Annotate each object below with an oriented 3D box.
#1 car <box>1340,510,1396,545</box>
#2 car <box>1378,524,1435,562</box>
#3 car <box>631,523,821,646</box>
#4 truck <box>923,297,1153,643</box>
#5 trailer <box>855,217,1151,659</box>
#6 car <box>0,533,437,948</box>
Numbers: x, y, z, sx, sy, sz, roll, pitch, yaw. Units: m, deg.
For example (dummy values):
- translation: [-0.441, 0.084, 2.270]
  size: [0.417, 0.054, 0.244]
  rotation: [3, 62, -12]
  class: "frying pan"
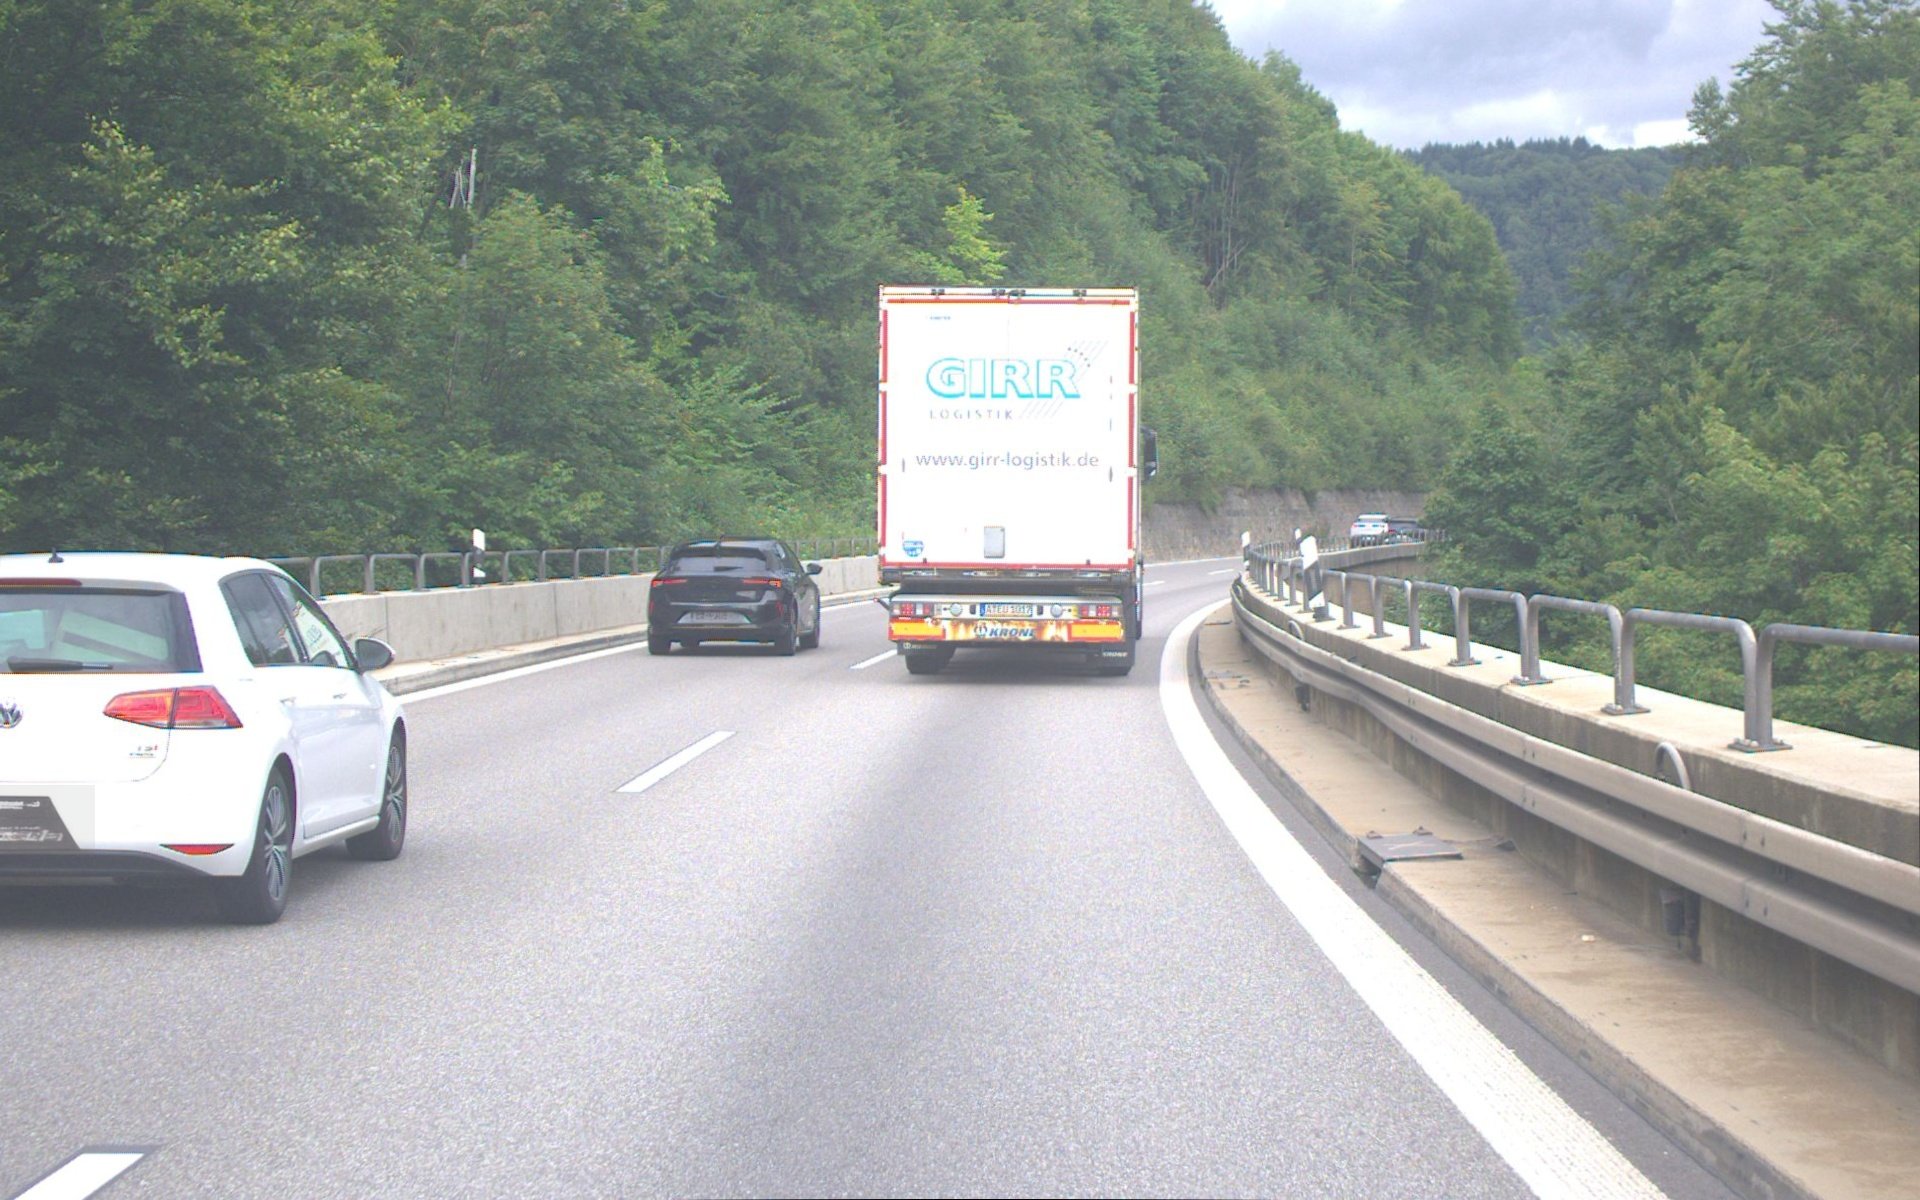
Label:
- translation: [19.002, -3.360, 160.010]
  size: [1.995, 1.560, 3.997]
  rotation: [0, 0, 15]
  class: "car"
- translation: [19.220, -2.442, 147.923]
  size: [1.995, 1.560, 3.997]
  rotation: [0, 0, 13]
  class: "car"
- translation: [-2.878, -0.205, 43.159]
  size: [1.773, 1.456, 4.581]
  rotation: [0, 1, 4]
  class: "car"
- translation: [1.147, -1.643, 46.221]
  size: [2.813, 4.288, 6.258]
  rotation: [-1, 0, 3]
  class: "truck"
- translation: [0.754, -1.612, 39.762]
  size: [2.813, 4.288, 12.243]
  rotation: [-1, 0, 3]
  class: "trailer"
- translation: [-3.499, 0.462, 14.666]
  size: [1.845, 1.476, 4.628]
  rotation: [0, 1, 0]
  class: "car"
